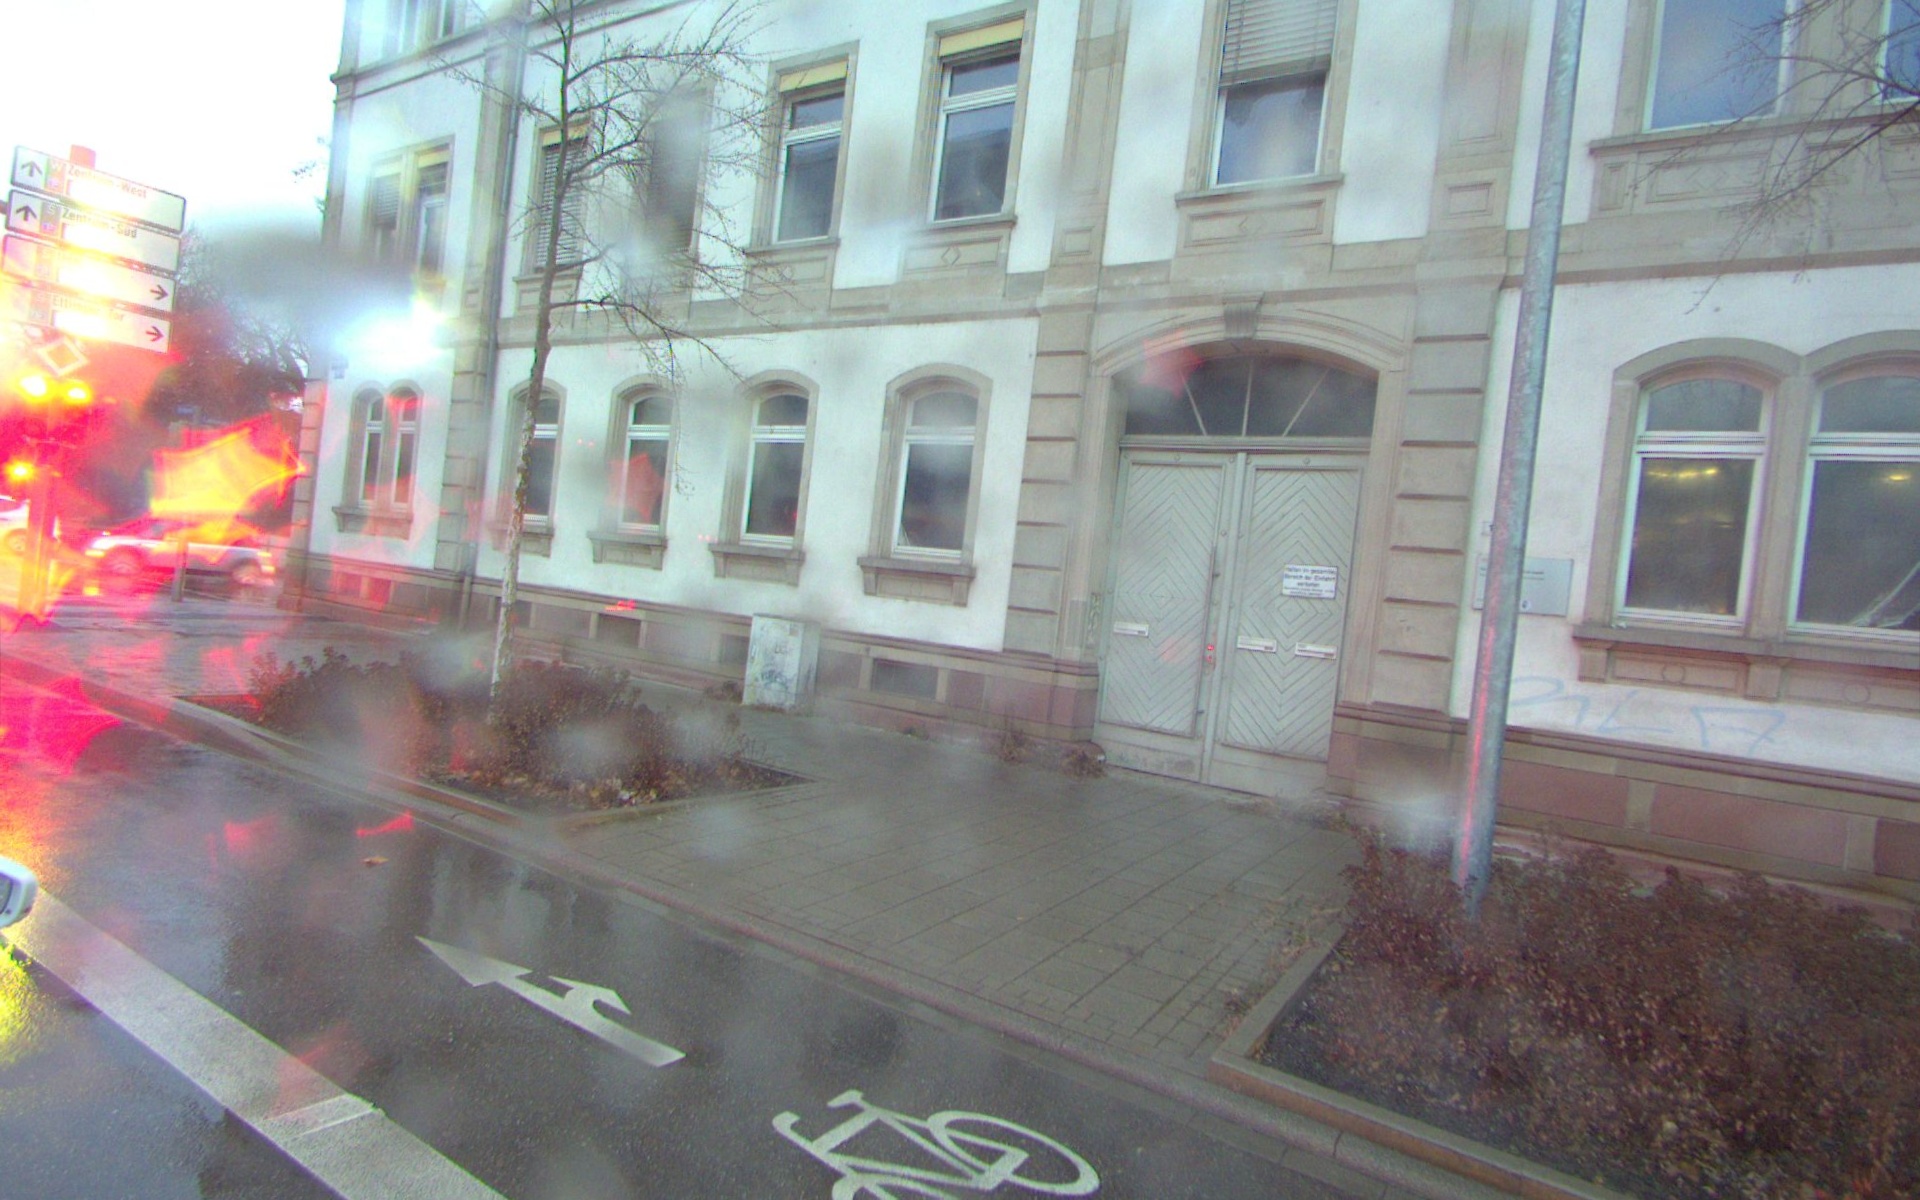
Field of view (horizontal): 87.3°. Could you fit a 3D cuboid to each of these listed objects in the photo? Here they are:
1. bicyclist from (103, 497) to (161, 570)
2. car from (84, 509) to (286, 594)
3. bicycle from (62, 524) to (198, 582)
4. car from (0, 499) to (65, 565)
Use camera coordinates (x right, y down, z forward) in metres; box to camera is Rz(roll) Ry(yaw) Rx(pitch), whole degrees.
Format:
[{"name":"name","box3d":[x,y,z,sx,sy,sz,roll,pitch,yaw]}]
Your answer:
[{"name":"bicyclist","box3d":[-21.958,-1.751,26.684,0.969,1.778,0.804,9,-2,-43]},{"name":"car","box3d":[-19.209,-1.174,25.030,1.608,1.494,3.682,5,-4,44]},{"name":"bicycle","box3d":[-21.981,-1.227,26.692,2.660,1.101,0.805,10,-3,-43]},{"name":"car","box3d":[-26.509,-2.013,26.634,3.938,1.571,1.732,9,-3,-38]}]
